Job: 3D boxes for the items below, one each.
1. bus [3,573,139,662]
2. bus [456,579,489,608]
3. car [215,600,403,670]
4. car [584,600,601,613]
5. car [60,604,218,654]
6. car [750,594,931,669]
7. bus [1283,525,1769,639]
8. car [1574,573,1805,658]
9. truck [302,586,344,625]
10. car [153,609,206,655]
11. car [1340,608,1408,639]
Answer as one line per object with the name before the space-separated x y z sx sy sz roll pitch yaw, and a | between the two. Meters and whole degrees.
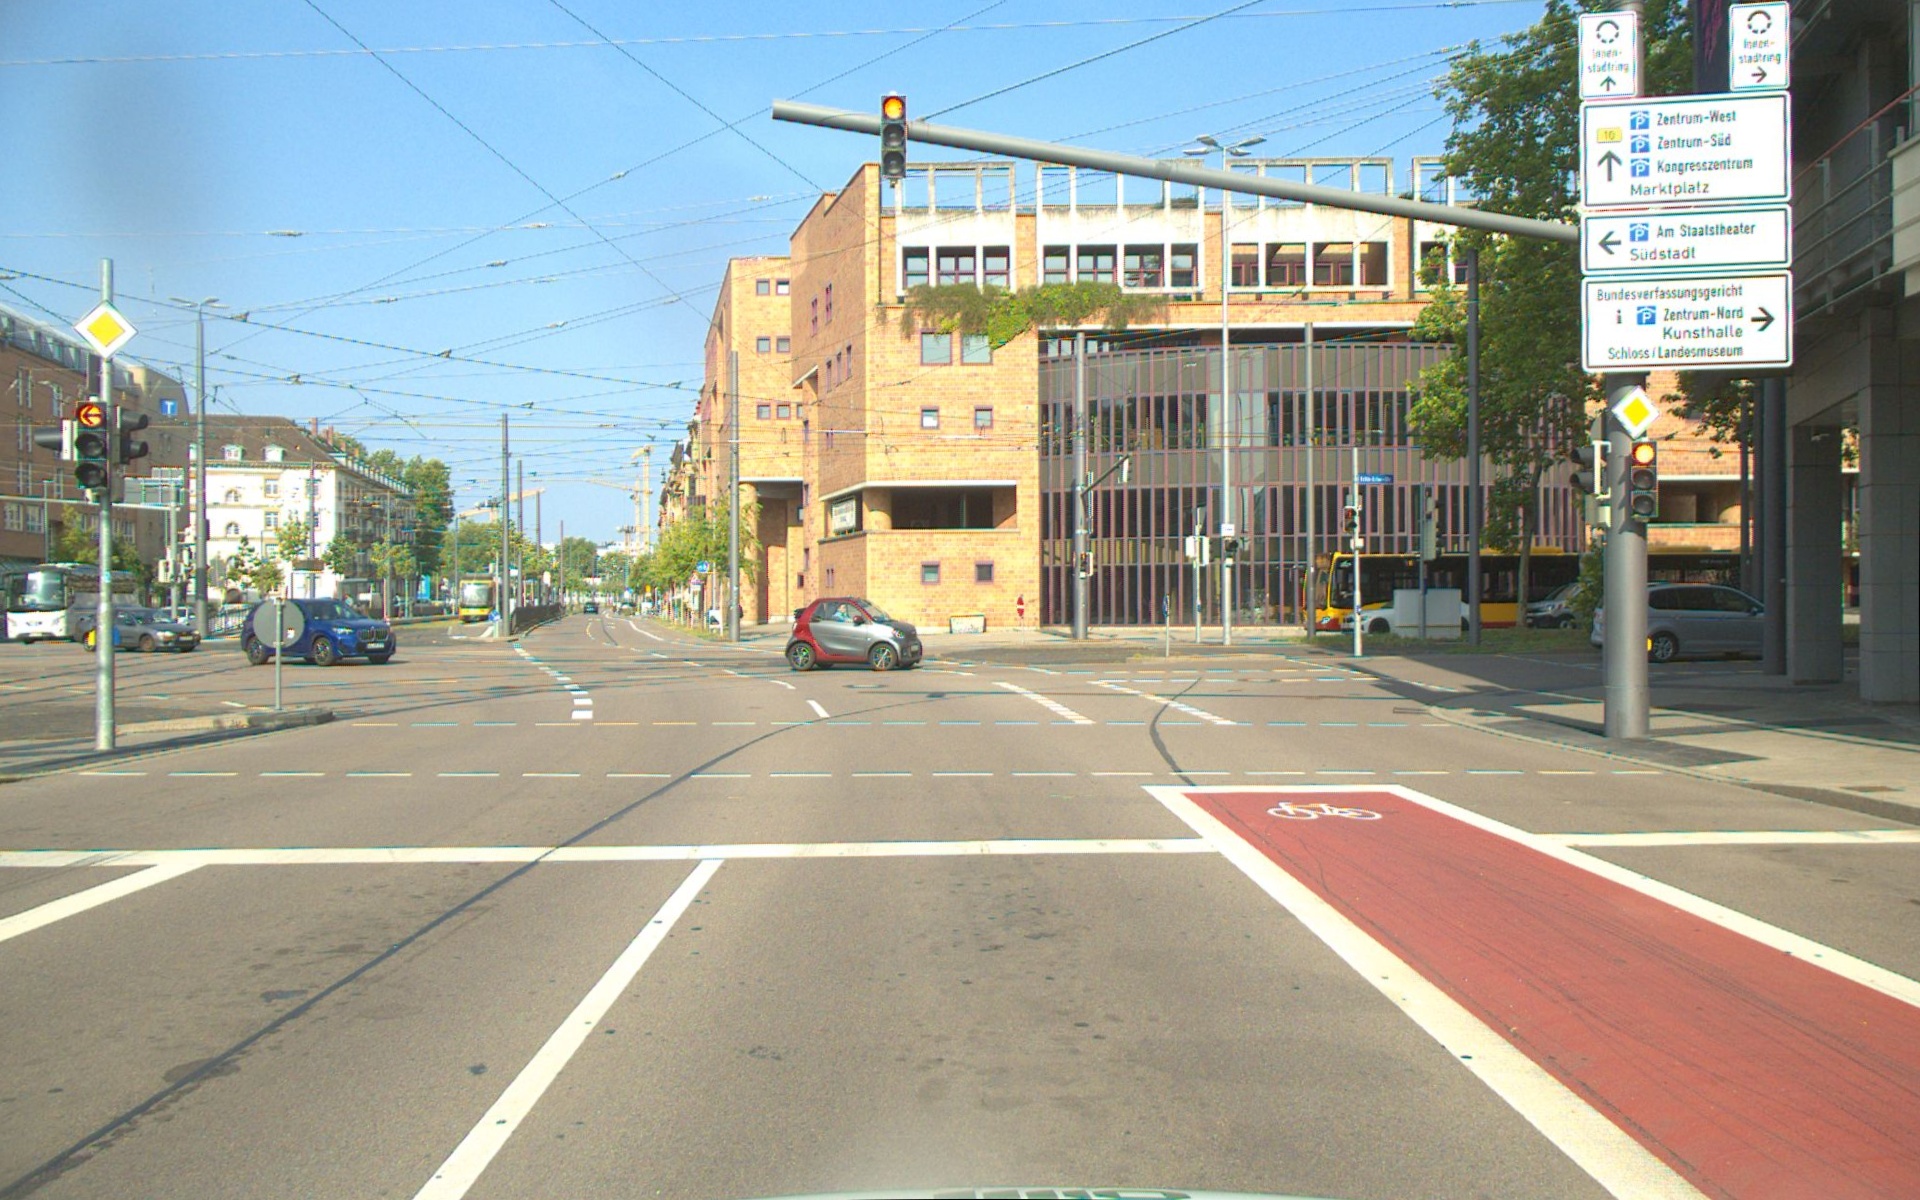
bus | -43.023 0.920 80.526 2.699 3.990 12.174 0 -1 -13
bus | -34.341 -0.442 116.664 1.959 2.049 3.987 0 0 -13
car | -16.215 0.897 41.175 4.313 1.664 1.990 -1 -2 26
car | -47.646 0.843 214.367 2.037 1.569 4.399 0 -1 -13
car | -26.154 0.939 52.770 4.117 1.513 2.001 -1 -1 10
car | -2.569 0.674 35.787 3.515 1.518 1.703 -1 0 17
bus | 20.271 -0.612 59.215 17.292 3.877 2.857 0 -2 -11
car | 15.472 0.302 35.144 4.297 1.663 1.686 -1 1 -10
truck | -43.704 0.397 113.559 1.959 2.644 4.725 0 -1 -12
car | -35.643 1.477 75.554 1.573 2.049 2.721 0 -2 -12
car | 13.477 0.776 53.927 1.912 0.975 1.093 0 0 -3
